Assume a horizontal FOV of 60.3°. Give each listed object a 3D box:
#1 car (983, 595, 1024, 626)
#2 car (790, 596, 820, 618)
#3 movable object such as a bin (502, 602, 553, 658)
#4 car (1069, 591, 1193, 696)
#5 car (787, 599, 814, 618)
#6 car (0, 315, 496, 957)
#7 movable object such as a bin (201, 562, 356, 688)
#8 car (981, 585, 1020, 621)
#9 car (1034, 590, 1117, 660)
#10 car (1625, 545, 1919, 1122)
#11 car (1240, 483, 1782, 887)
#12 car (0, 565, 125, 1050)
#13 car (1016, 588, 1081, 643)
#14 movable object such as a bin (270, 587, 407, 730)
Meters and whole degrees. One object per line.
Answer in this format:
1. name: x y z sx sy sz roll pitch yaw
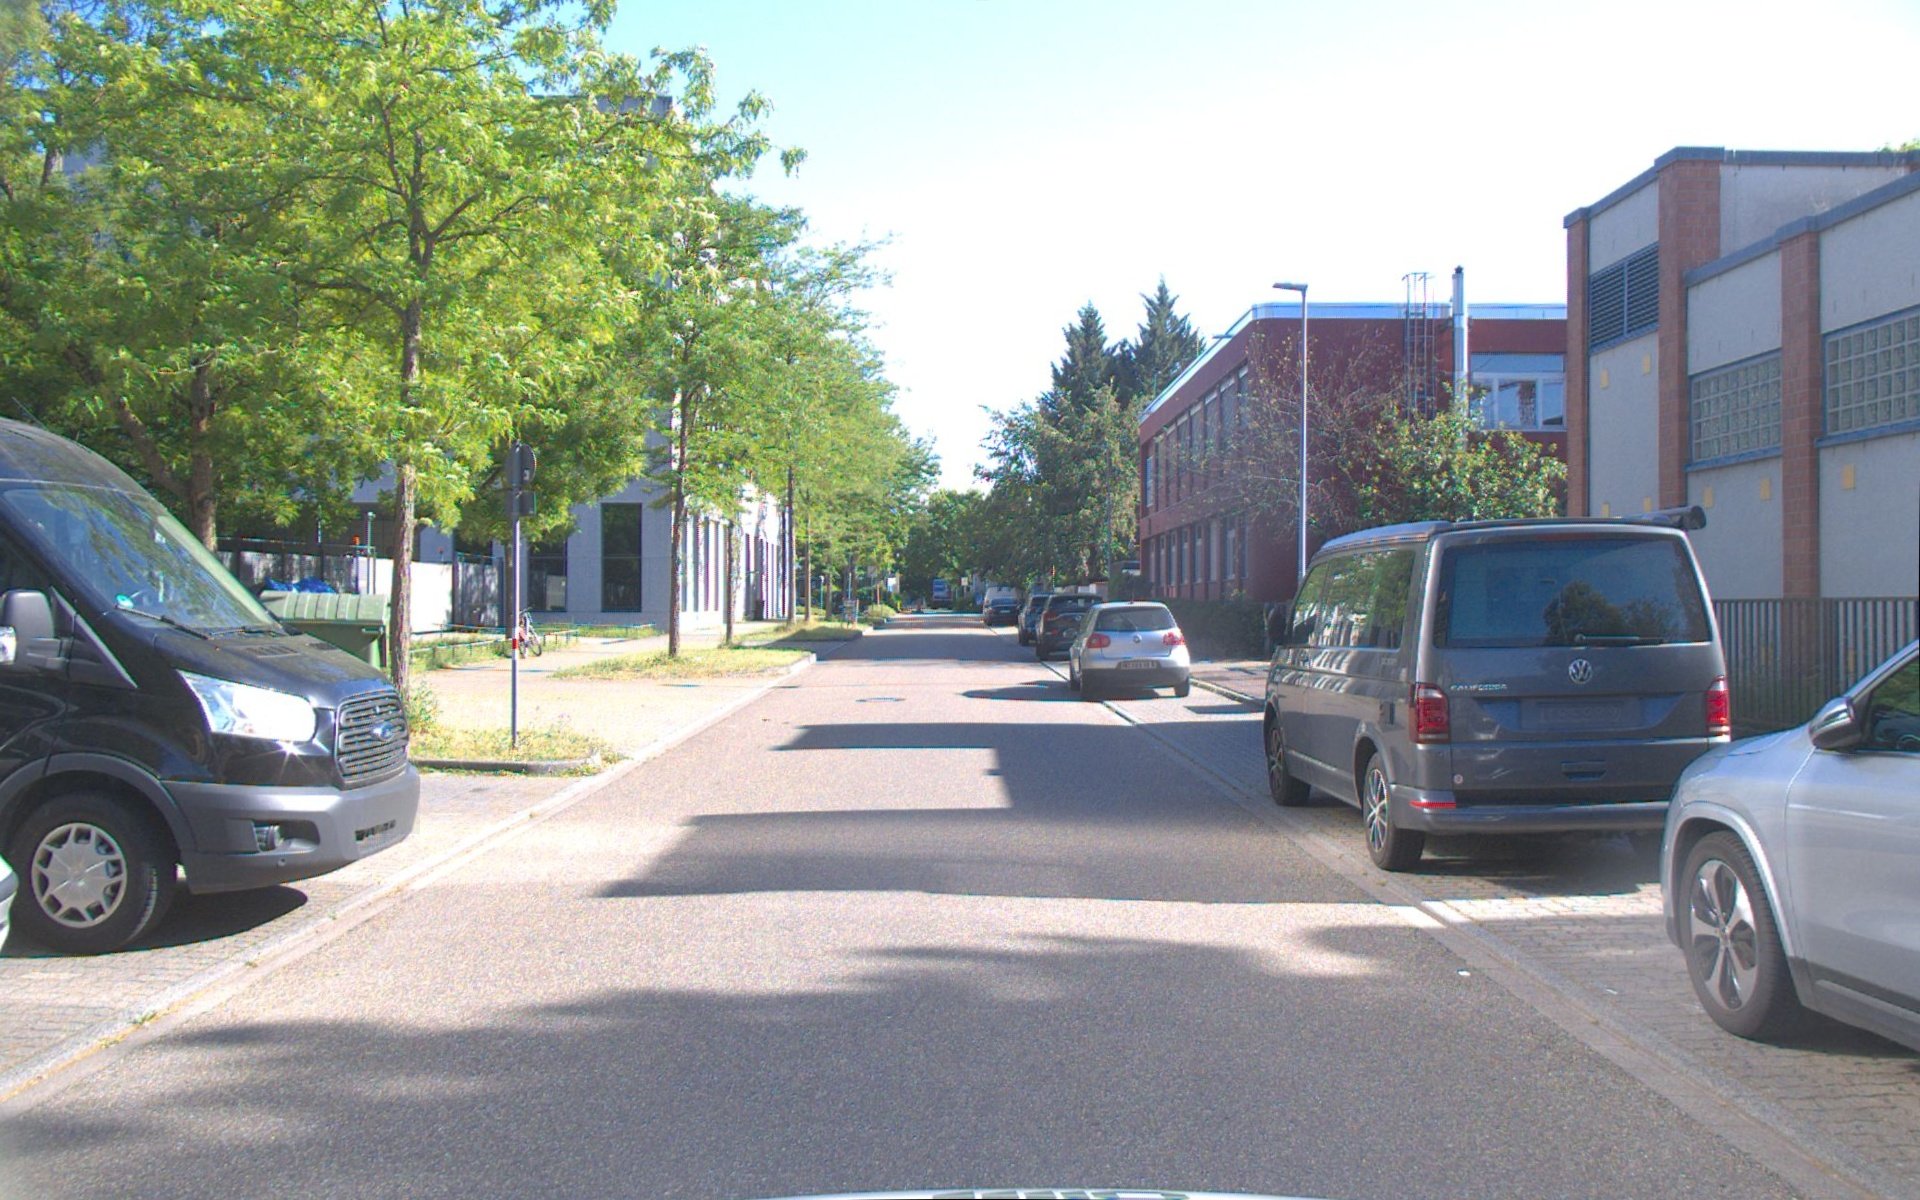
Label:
1. car: 2.229 0.536 85.402 1.953 1.467 4.000 -3 0 0
2. car: -10.793 0.477 115.385 1.954 1.483 3.790 0 0 -3
3. movable object such as a bin: -9.614 0.654 36.815 0.649 1.202 1.935 0 0 0
4. car: 2.718 0.651 27.026 1.626 1.588 3.934 0 0 0
5. car: -12.231 0.649 127.075 1.868 1.365 3.790 0 0 -3
6. car: -5.318 0.076 8.113 5.344 2.668 2.231 3 -1 -1
7. movable object such as a bin: -9.597 0.372 23.387 1.384 1.624 1.523 4 -2 3
8. car: 2.196 0.148 91.148 1.953 1.866 4.000 -3 0 0
9. car: 2.854 0.591 41.567 1.800 1.662 4.201 0 0 0
10. car: 3.639 0.647 4.570 1.788 1.658 4.292 -1 -1 -1
11. car: 3.280 0.461 11.025 1.904 2.057 4.824 -1 -1 -1
12. car: -5.164 0.661 5.493 3.754 1.674 1.891 2 -1 -3
13. car: 2.778 0.461 52.679 1.817 1.677 4.000 -1 0 0
14. movable object such as a bin: -6.503 0.588 17.392 1.273 1.438 1.221 0 0 -18
